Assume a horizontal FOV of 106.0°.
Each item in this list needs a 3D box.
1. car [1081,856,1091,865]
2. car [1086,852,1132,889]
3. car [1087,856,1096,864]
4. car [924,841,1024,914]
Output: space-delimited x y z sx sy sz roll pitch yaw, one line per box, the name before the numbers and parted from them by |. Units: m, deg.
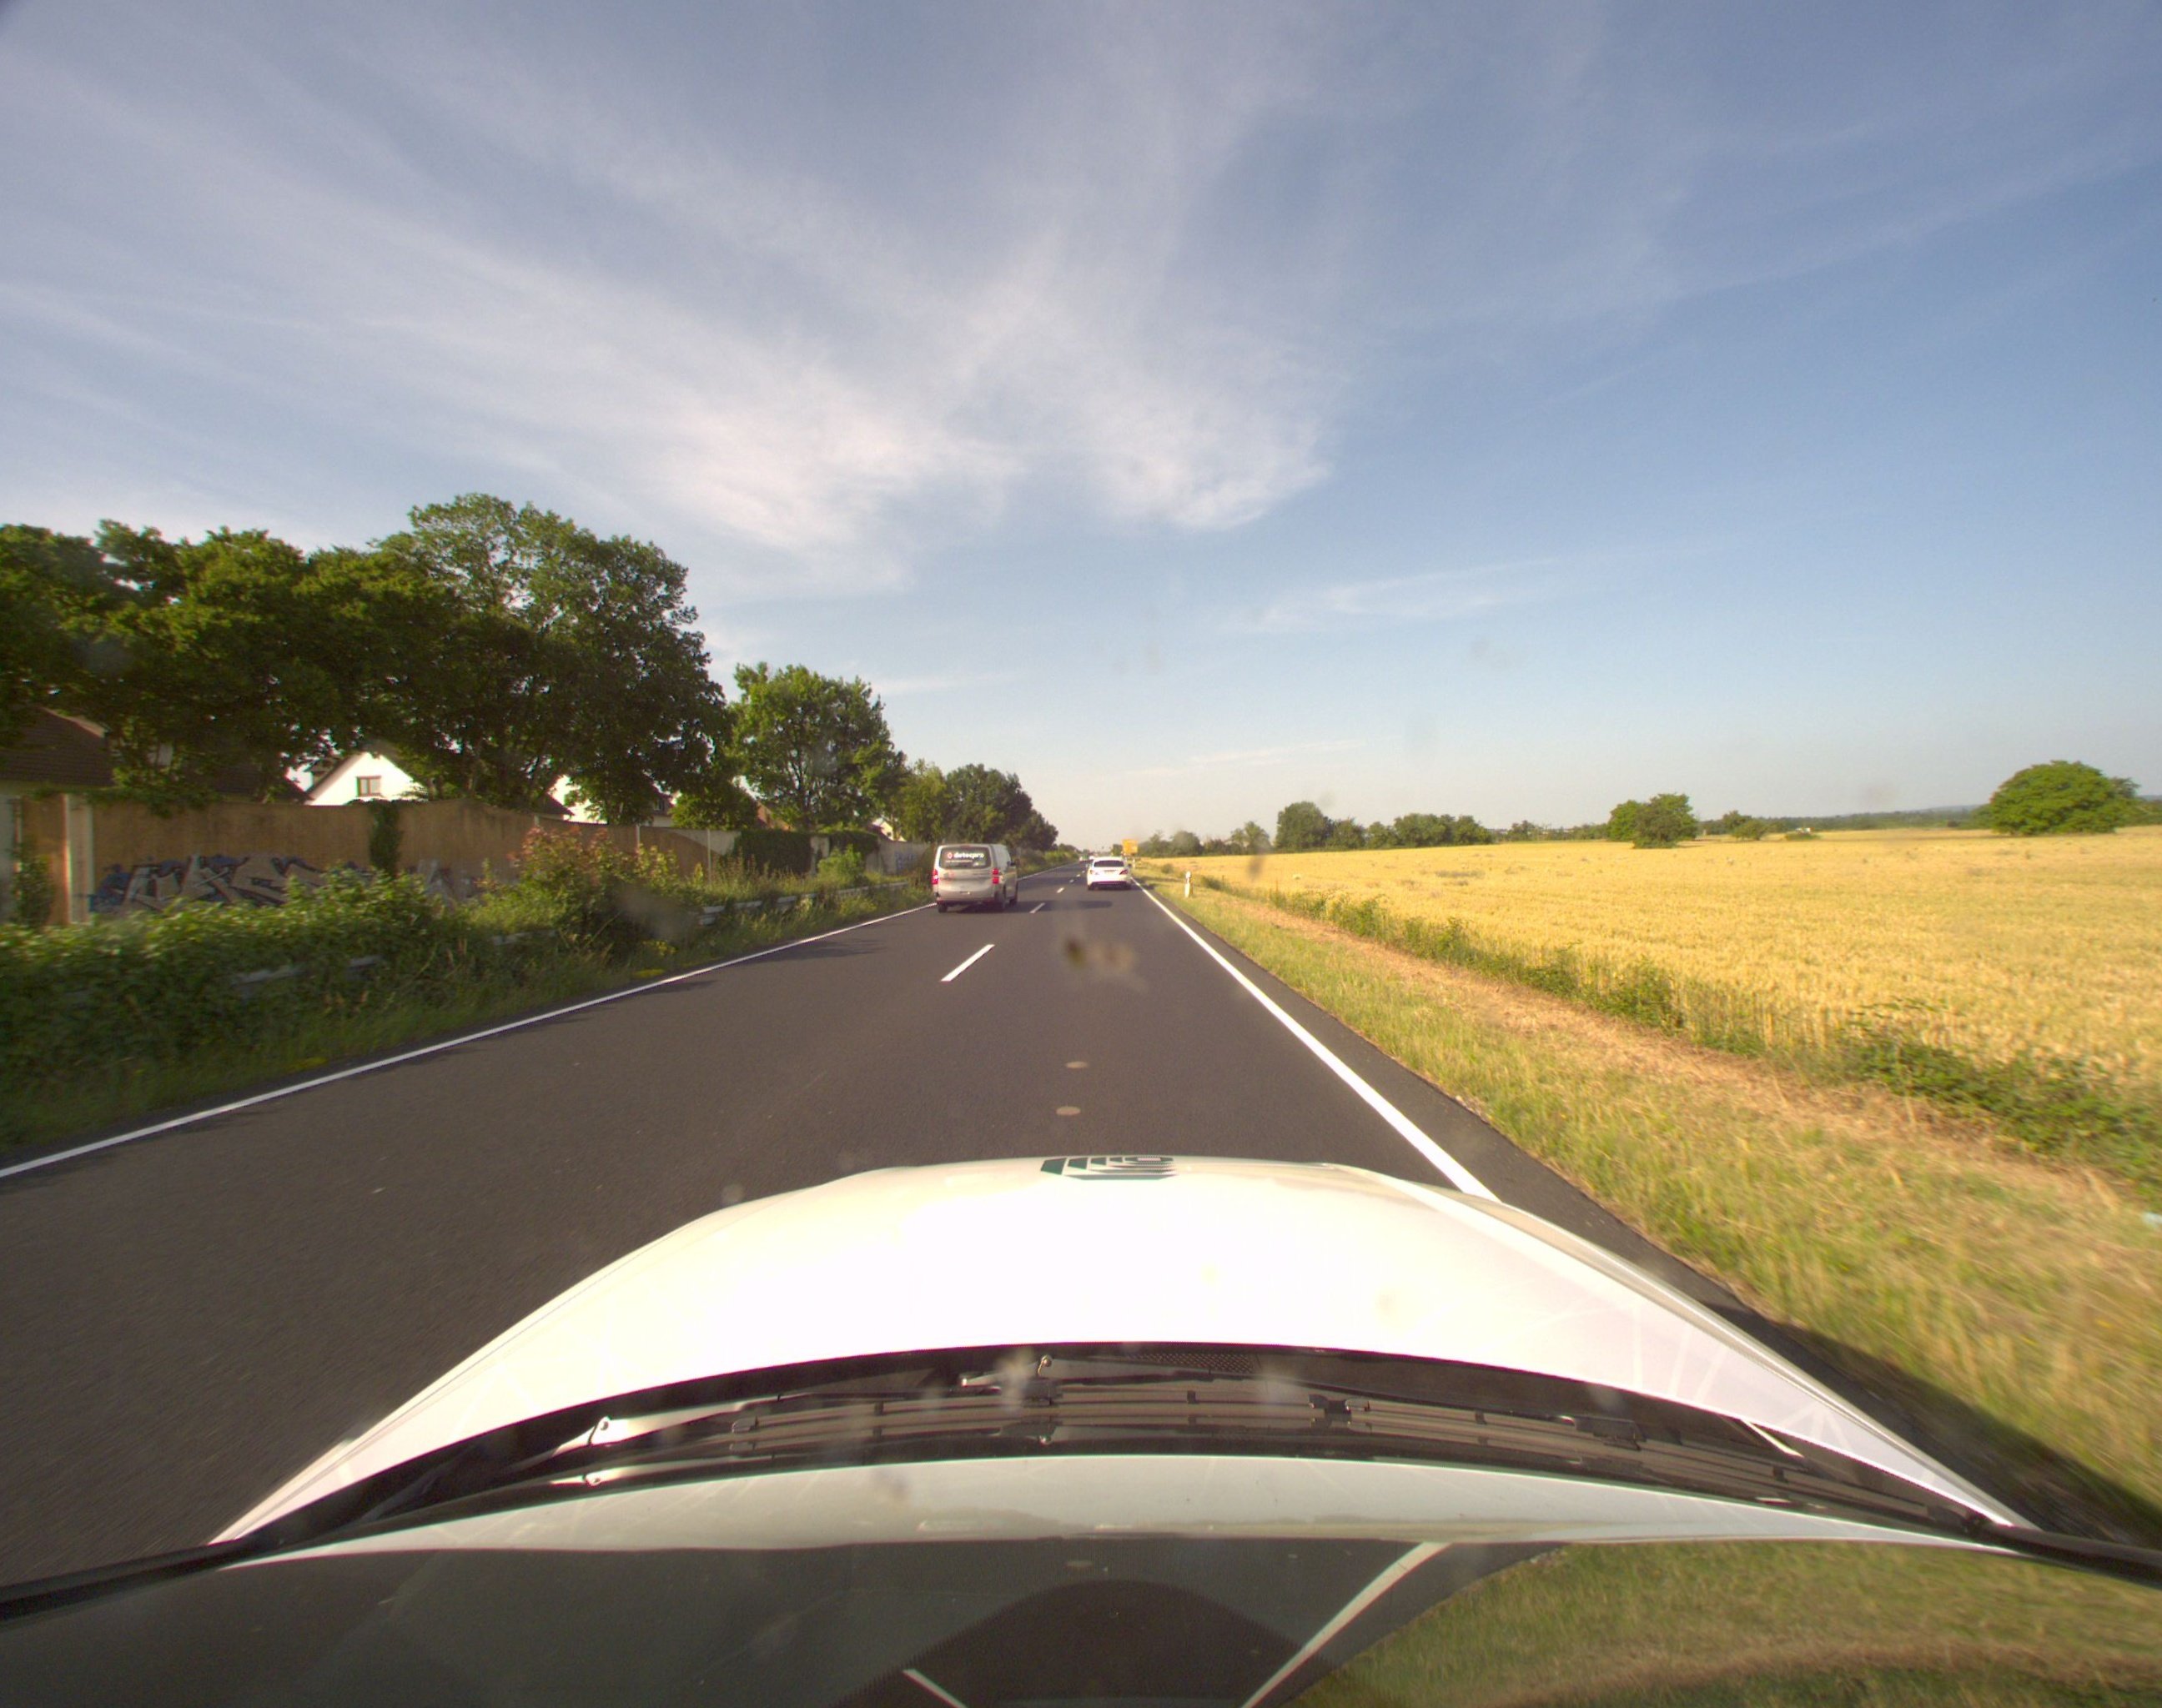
car | 0.874 1.147 140.609 1.710 1.492 3.586 0 -1 2
car | 1.234 0.713 35.884 1.887 1.509 4.001 -1 -1 2
car | 2.143 1.279 167.009 1.871 1.651 3.664 0 -1 0
car | -2.961 0.621 23.756 2.017 1.892 4.962 0 0 3
